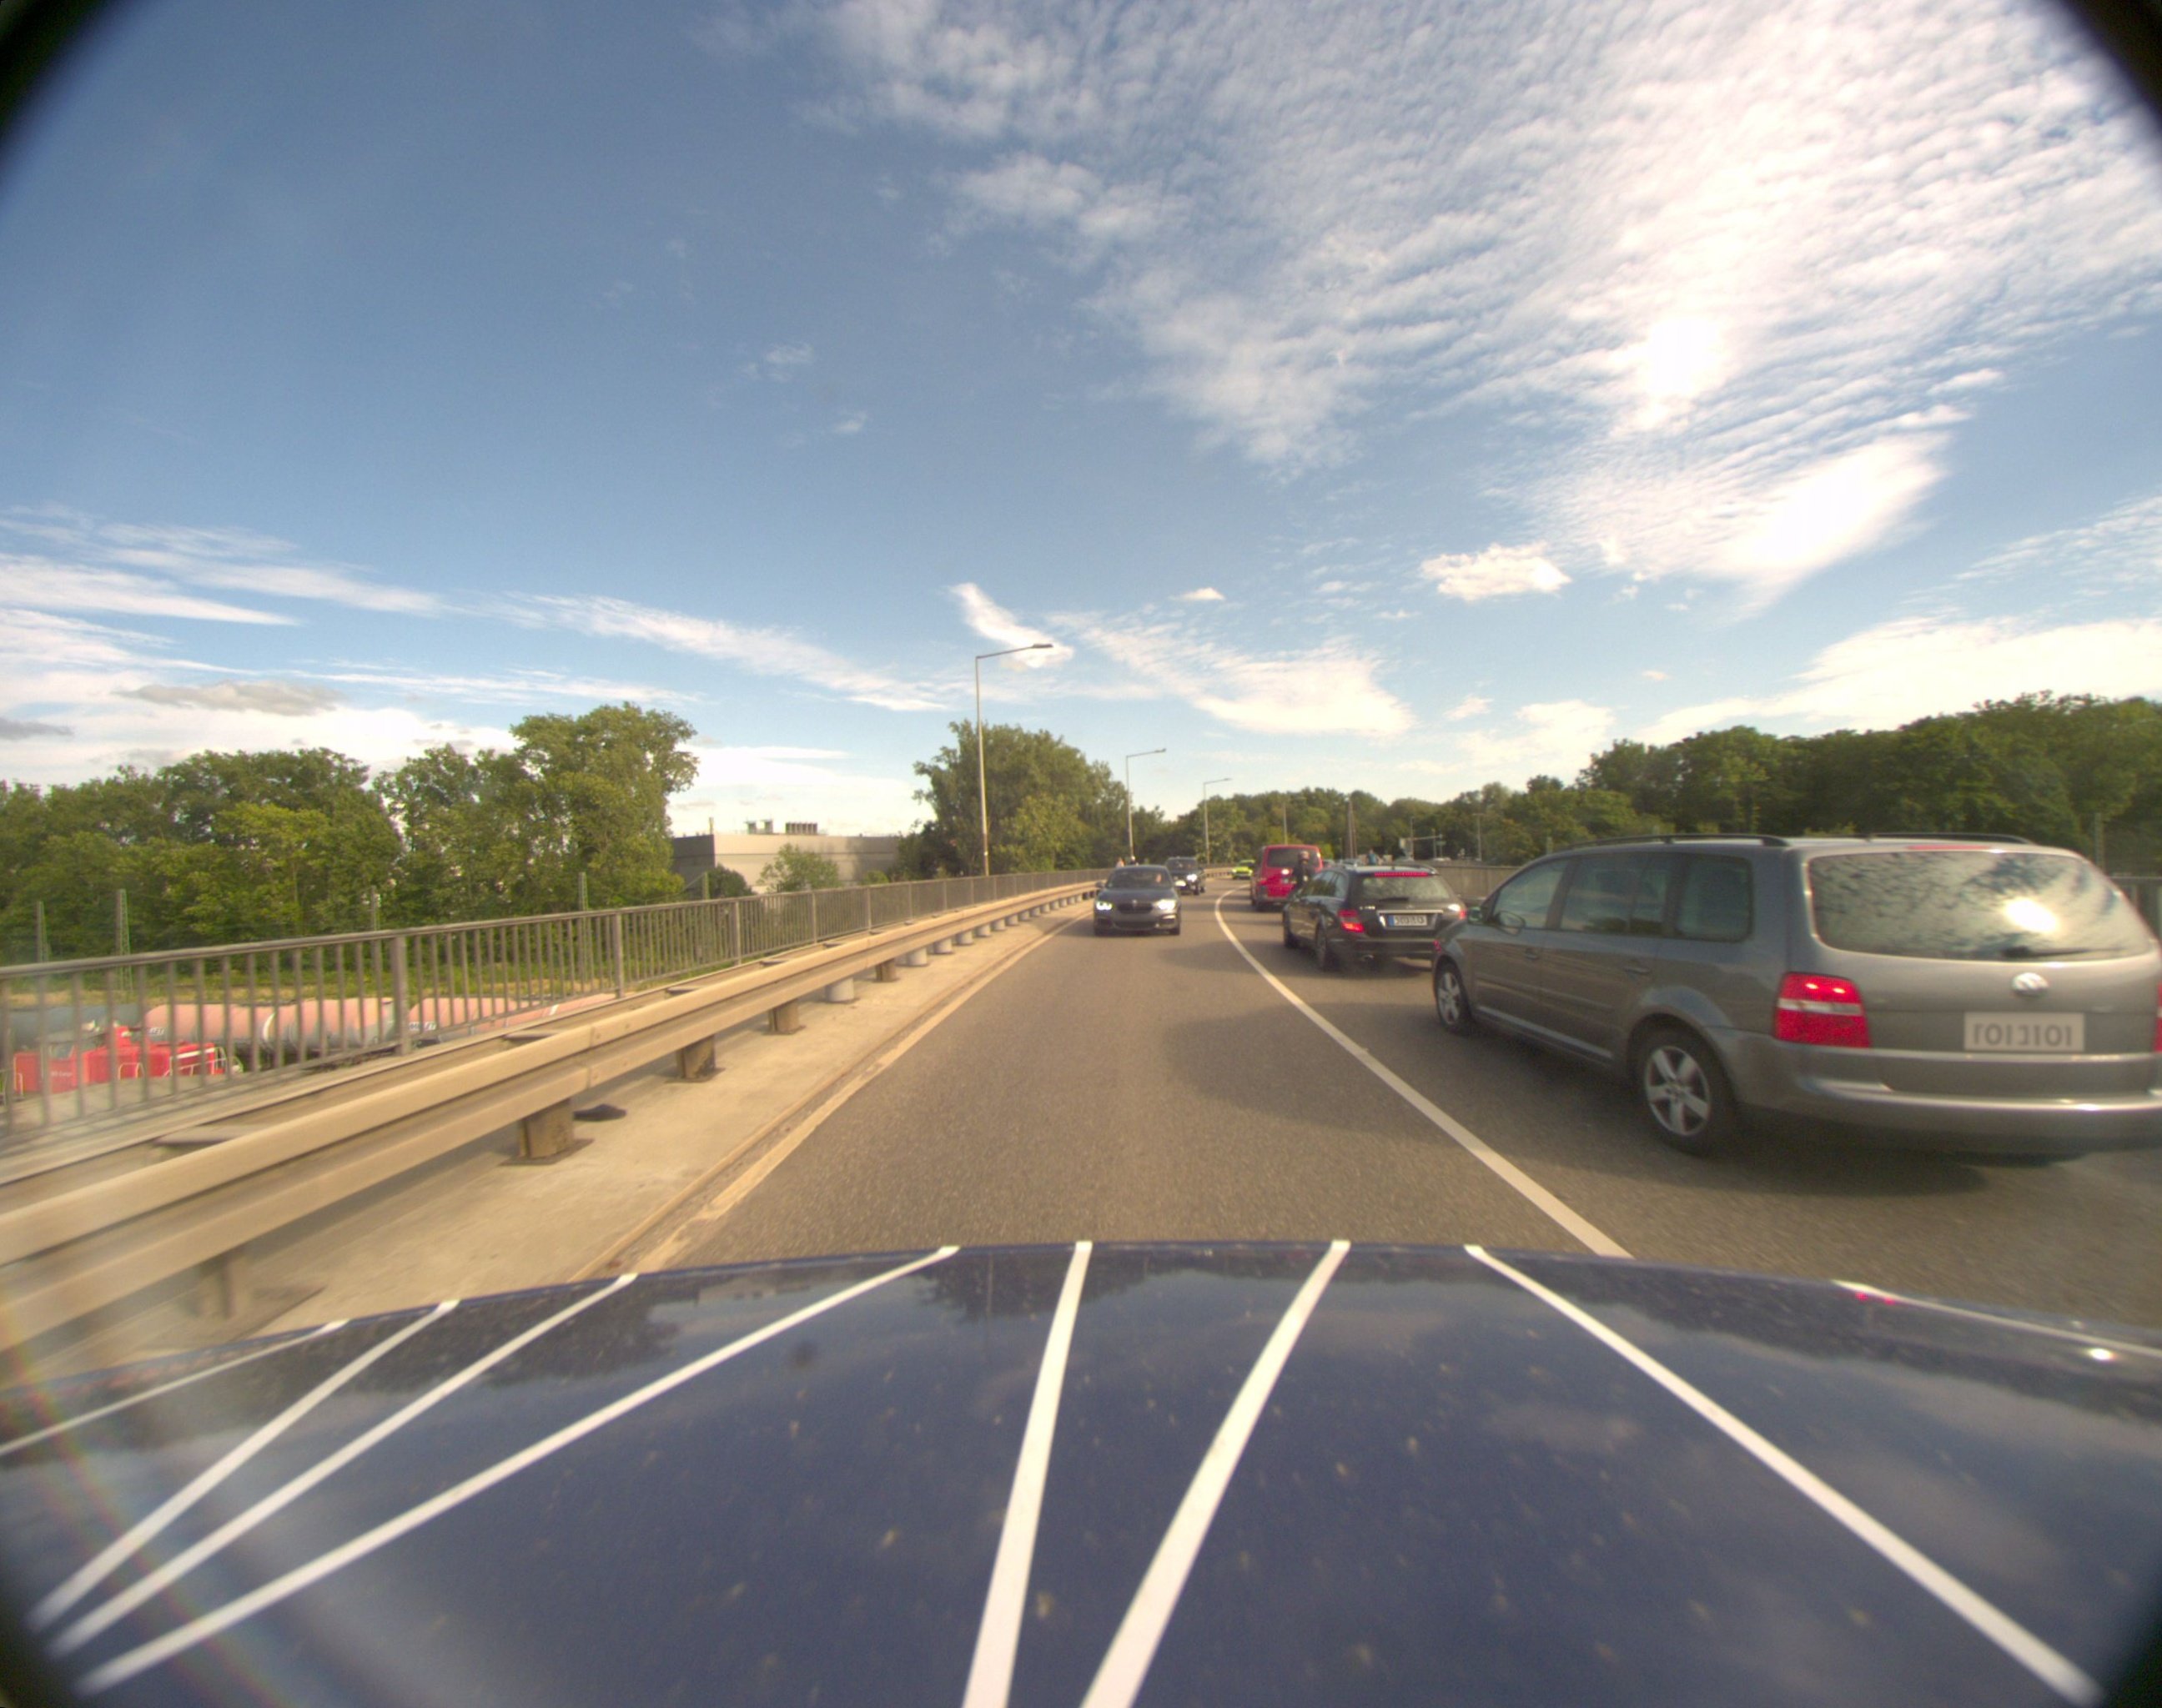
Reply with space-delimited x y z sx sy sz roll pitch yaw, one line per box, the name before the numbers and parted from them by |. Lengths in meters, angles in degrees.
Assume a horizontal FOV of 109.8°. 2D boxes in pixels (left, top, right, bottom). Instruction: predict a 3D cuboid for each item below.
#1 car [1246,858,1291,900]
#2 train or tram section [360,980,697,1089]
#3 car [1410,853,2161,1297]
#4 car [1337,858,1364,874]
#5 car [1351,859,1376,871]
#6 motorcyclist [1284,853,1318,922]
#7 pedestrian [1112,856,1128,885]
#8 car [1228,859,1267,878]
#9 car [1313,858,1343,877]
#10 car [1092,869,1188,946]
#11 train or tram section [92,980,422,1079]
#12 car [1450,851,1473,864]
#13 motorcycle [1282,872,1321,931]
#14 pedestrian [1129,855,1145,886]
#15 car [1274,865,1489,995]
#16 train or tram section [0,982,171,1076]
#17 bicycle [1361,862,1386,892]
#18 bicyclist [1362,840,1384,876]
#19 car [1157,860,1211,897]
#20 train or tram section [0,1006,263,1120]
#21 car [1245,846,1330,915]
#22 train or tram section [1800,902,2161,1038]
car | 7.890 0.993 32.219 1.755 1.600 4.318 0 0 12
train or tram section | -29.221 9.422 40.354 16.727 4.685 3.098 0 1 7
car | 3.861 0.815 4.952 1.685 1.639 4.298 0 0 2
car | 25.716 1.144 72.400 1.761 1.481 4.399 0 0 28
car | 35.780 1.342 96.169 1.815 1.498 4.400 0 0 37
motorcyclist | 5.095 0.753 17.622 0.621 1.544 0.938 0 0 8
pedestrian | 2.066 0.872 40.329 0.677 1.535 0.962 0 1 15
car | 12.606 1.057 57.377 1.815 1.396 4.399 0 0 28
car | 20.144 1.054 61.845 1.761 1.481 4.453 0 0 26
car | 1.402 1.056 16.625 1.785 1.396 3.973 0 0 9
train or tram section | -45.795 9.679 42.337 16.727 4.685 3.098 -1 1 7
car | 52.165 0.504 104.201 1.774 1.736 3.845 0 0 43
motorcycle | 5.106 1.068 17.682 0.621 1.245 1.793 0 0 8
pedestrian | 3.036 0.862 41.083 0.677 1.652 0.866 0 1 15
car | 4.132 0.932 11.280 1.836 1.457 4.520 0 0 6
train or tram section | -62.357 10.150 44.669 16.724 4.685 3.099 -2 1 9
bicycle | 13.617 1.065 35.390 0.765 1.324 1.918 0 1 12
bicyclist | 13.614 0.174 35.450 0.767 1.651 1.121 0 1 11
car | 4.670 1.056 34.073 1.816 1.498 4.396 0 0 15
train or tram section | -48.878 9.958 36.967 17.277 4.121 3.099 0 1 9
car | 6.215 0.720 23.366 2.011 1.892 4.871 0 0 9
train or tram section | 38.193 4.293 29.008 16.723 4.685 3.099 0 1 9
